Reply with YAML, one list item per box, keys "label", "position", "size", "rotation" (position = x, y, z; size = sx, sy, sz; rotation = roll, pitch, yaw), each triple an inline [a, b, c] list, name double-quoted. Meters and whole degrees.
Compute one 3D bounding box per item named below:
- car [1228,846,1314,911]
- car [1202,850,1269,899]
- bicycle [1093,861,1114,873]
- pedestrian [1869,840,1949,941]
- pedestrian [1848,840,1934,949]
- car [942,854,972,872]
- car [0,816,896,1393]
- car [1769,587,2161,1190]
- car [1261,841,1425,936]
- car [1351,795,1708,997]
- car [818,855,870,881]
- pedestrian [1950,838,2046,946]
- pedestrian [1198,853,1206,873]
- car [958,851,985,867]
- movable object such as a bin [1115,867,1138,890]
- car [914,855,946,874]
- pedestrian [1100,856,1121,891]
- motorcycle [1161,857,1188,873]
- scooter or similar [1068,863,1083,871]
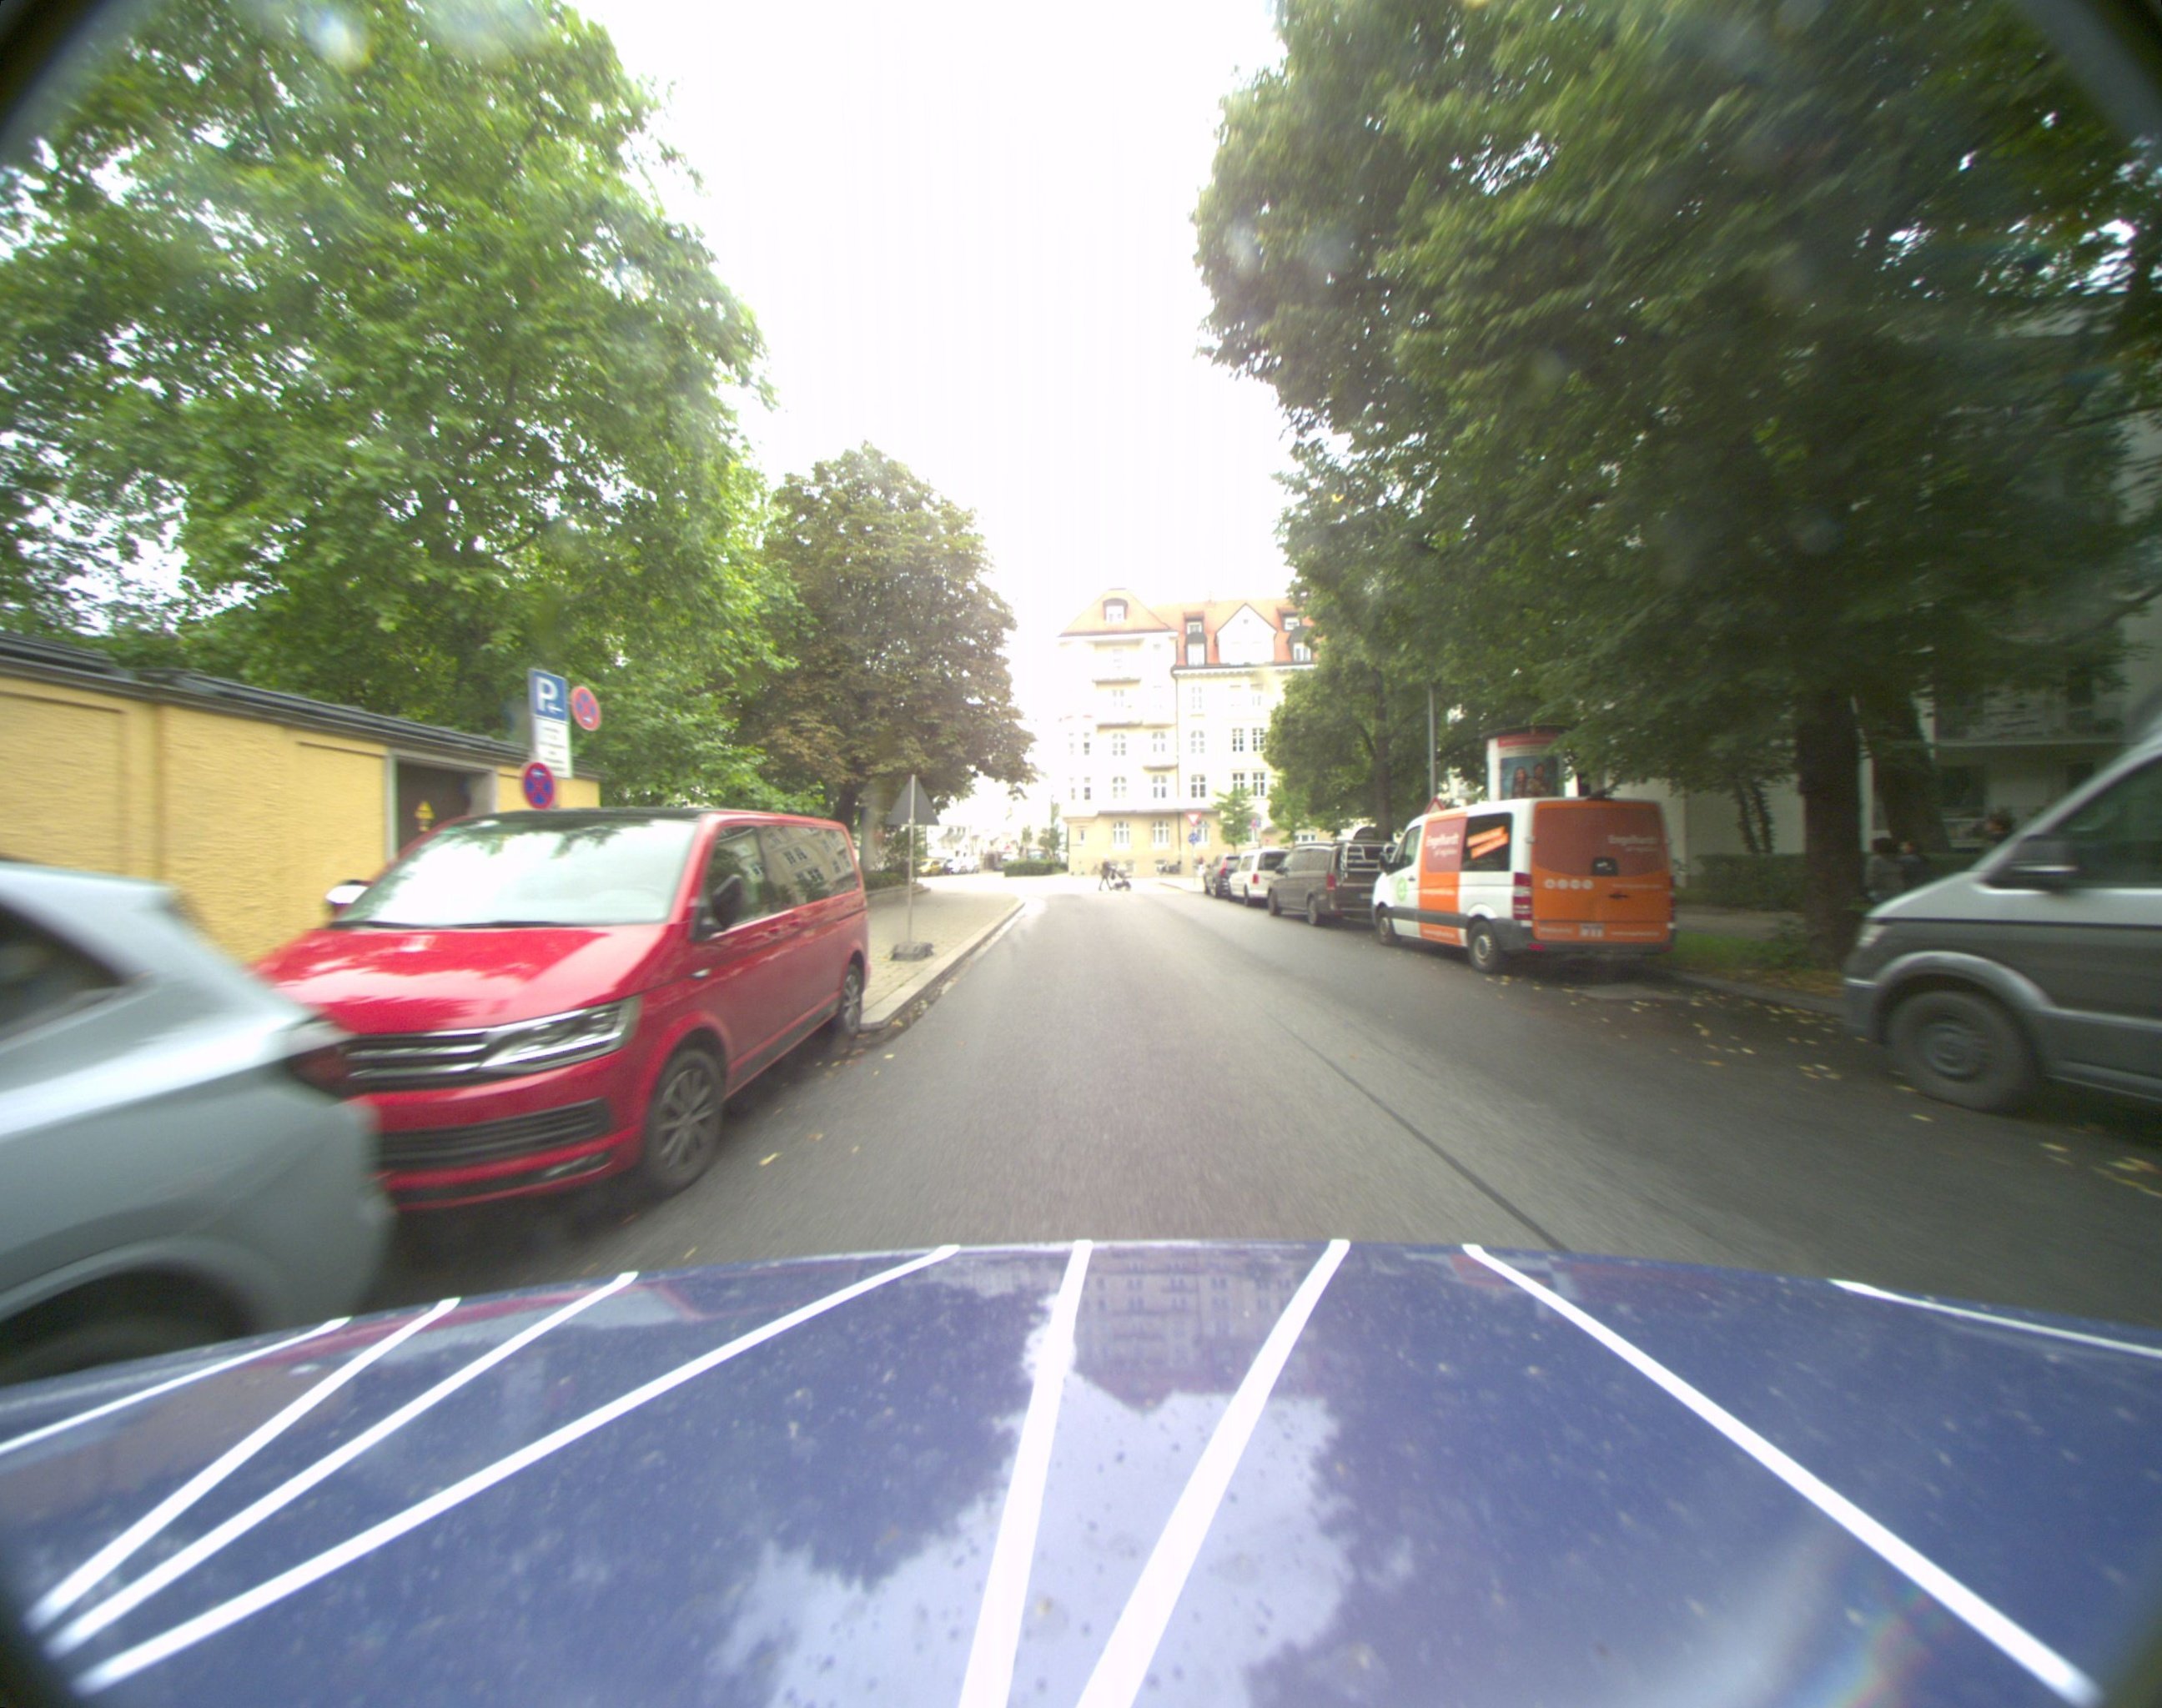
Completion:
- label: "car"
  position: [6.182, 0.745, 25.309]
  size: [1.884, 1.925, 4.834]
  rotation: [0, 0, 3]
- label: "car"
  position: [6.143, 0.750, 30.748]
  size: [1.884, 1.758, 5.059]
  rotation: [-1, 1, 3]
- label: "bicycle"
  position: [1.997, 1.160, 66.247]
  size: [1.783, 0.986, 0.543]
  rotation: [-1, 2, 3]
- label: "pedestrian"
  position: [13.005, 0.556, 11.946]
  size: [0.647, 1.539, 0.538]
  rotation: [-2, 1, 0]
- label: "pedestrian"
  position: [12.227, 0.601, 11.486]
  size: [0.700, 1.582, 0.538]
  rotation: [-2, 1, 0]
- label: "car"
  position: [-14.438, 1.016, 89.028]
  size: [2.156, 1.902, 4.774]
  rotation: [0, 1, 8]
- label: "car"
  position: [-2.849, 0.812, 5.328]
  size: [1.864, 1.956, 5.443]
  rotation: [-1, 1, -1]
- label: "car"
  position: [6.076, 0.175, 2.457]
  size: [1.950, 2.838, 6.234]
  rotation: [-1, 1, -1]
- label: "car"
  position: [6.037, 0.718, 18.381]
  size: [1.950, 1.952, 5.458]
  rotation: [0, 0, -2]
- label: "car"
  position: [6.214, 0.500, 11.582]
  size: [2.120, 2.334, 5.407]
  rotation: [-1, 0, -2]
- label: "car"
  position: [-18.676, 1.048, 60.172]
  size: [1.948, 1.923, 4.977]
  rotation: [0, 0, 9]
- label: "pedestrian"
  position: [13.588, 0.553, 11.279]
  size: [0.632, 1.542, 0.639]
  rotation: [-2, 1, 0]
- label: "pedestrian"
  position: [10.297, 0.757, 64.734]
  size: [0.606, 1.655, 0.463]
  rotation: [0, 2, 12]
- label: "car"
  position: [-13.700, 0.617, 95.282]
  size: [2.052, 1.928, 4.578]
  rotation: [0, 1, 8]
- label: "movable object such as a bin"
  position: [2.152, 1.156, 36.048]
  size: [0.900, 1.078, 0.777]
  rotation: [-1, 1, -8]
- label: "car"
  position: [-15.470, 1.056, 78.228]
  size: [1.793, 1.809, 4.306]
  rotation: [0, 1, 9]
- label: "pedestrian"
  position: [1.377, 0.931, 35.848]
  size: [0.863, 1.610, 0.593]
  rotation: [-1, 2, -8]
- label: "motorcycle"
  position: [7.994, 0.927, 65.267]
  size: [2.243, 1.319, 0.824]
  rotation: [-1, 1, 4]
- label: "scooter or similar"
  position: [-0.490, 1.158, 66.139]
  size: [1.235, 0.683, 0.316]
  rotation: [-1, 2, -21]
